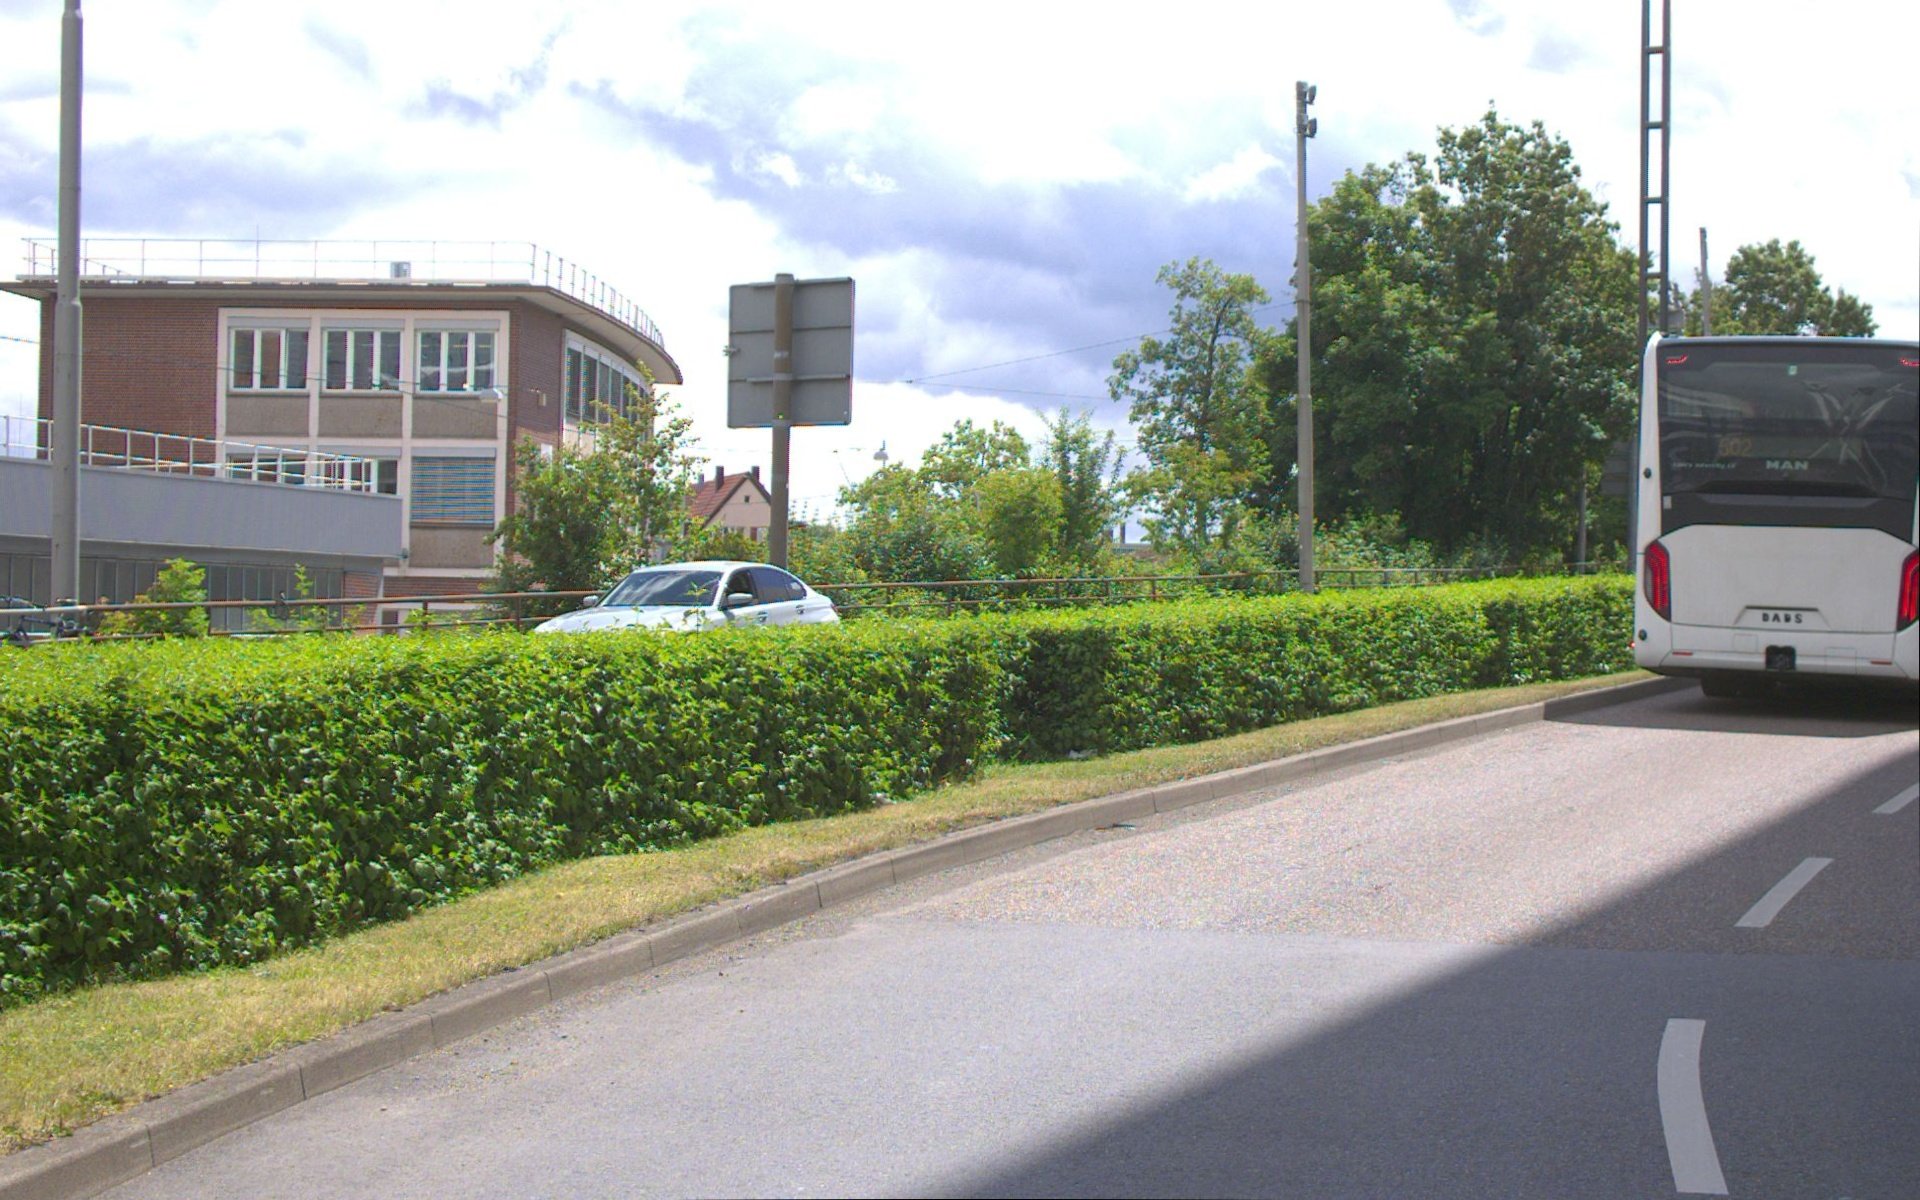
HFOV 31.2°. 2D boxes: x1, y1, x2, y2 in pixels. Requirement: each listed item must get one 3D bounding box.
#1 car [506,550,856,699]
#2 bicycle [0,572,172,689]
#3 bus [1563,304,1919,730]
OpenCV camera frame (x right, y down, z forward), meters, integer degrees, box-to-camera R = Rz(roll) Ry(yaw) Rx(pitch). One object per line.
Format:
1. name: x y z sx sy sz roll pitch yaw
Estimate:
1. car: -2.931 0.209 37.234 1.757 1.393 4.668 3 2 23
2. bicycle: -8.657 0.279 33.737 0.453 1.067 2.293 2 2 26
3. bus: 8.853 -0.887 33.373 3.076 3.350 12.209 3 3 23
